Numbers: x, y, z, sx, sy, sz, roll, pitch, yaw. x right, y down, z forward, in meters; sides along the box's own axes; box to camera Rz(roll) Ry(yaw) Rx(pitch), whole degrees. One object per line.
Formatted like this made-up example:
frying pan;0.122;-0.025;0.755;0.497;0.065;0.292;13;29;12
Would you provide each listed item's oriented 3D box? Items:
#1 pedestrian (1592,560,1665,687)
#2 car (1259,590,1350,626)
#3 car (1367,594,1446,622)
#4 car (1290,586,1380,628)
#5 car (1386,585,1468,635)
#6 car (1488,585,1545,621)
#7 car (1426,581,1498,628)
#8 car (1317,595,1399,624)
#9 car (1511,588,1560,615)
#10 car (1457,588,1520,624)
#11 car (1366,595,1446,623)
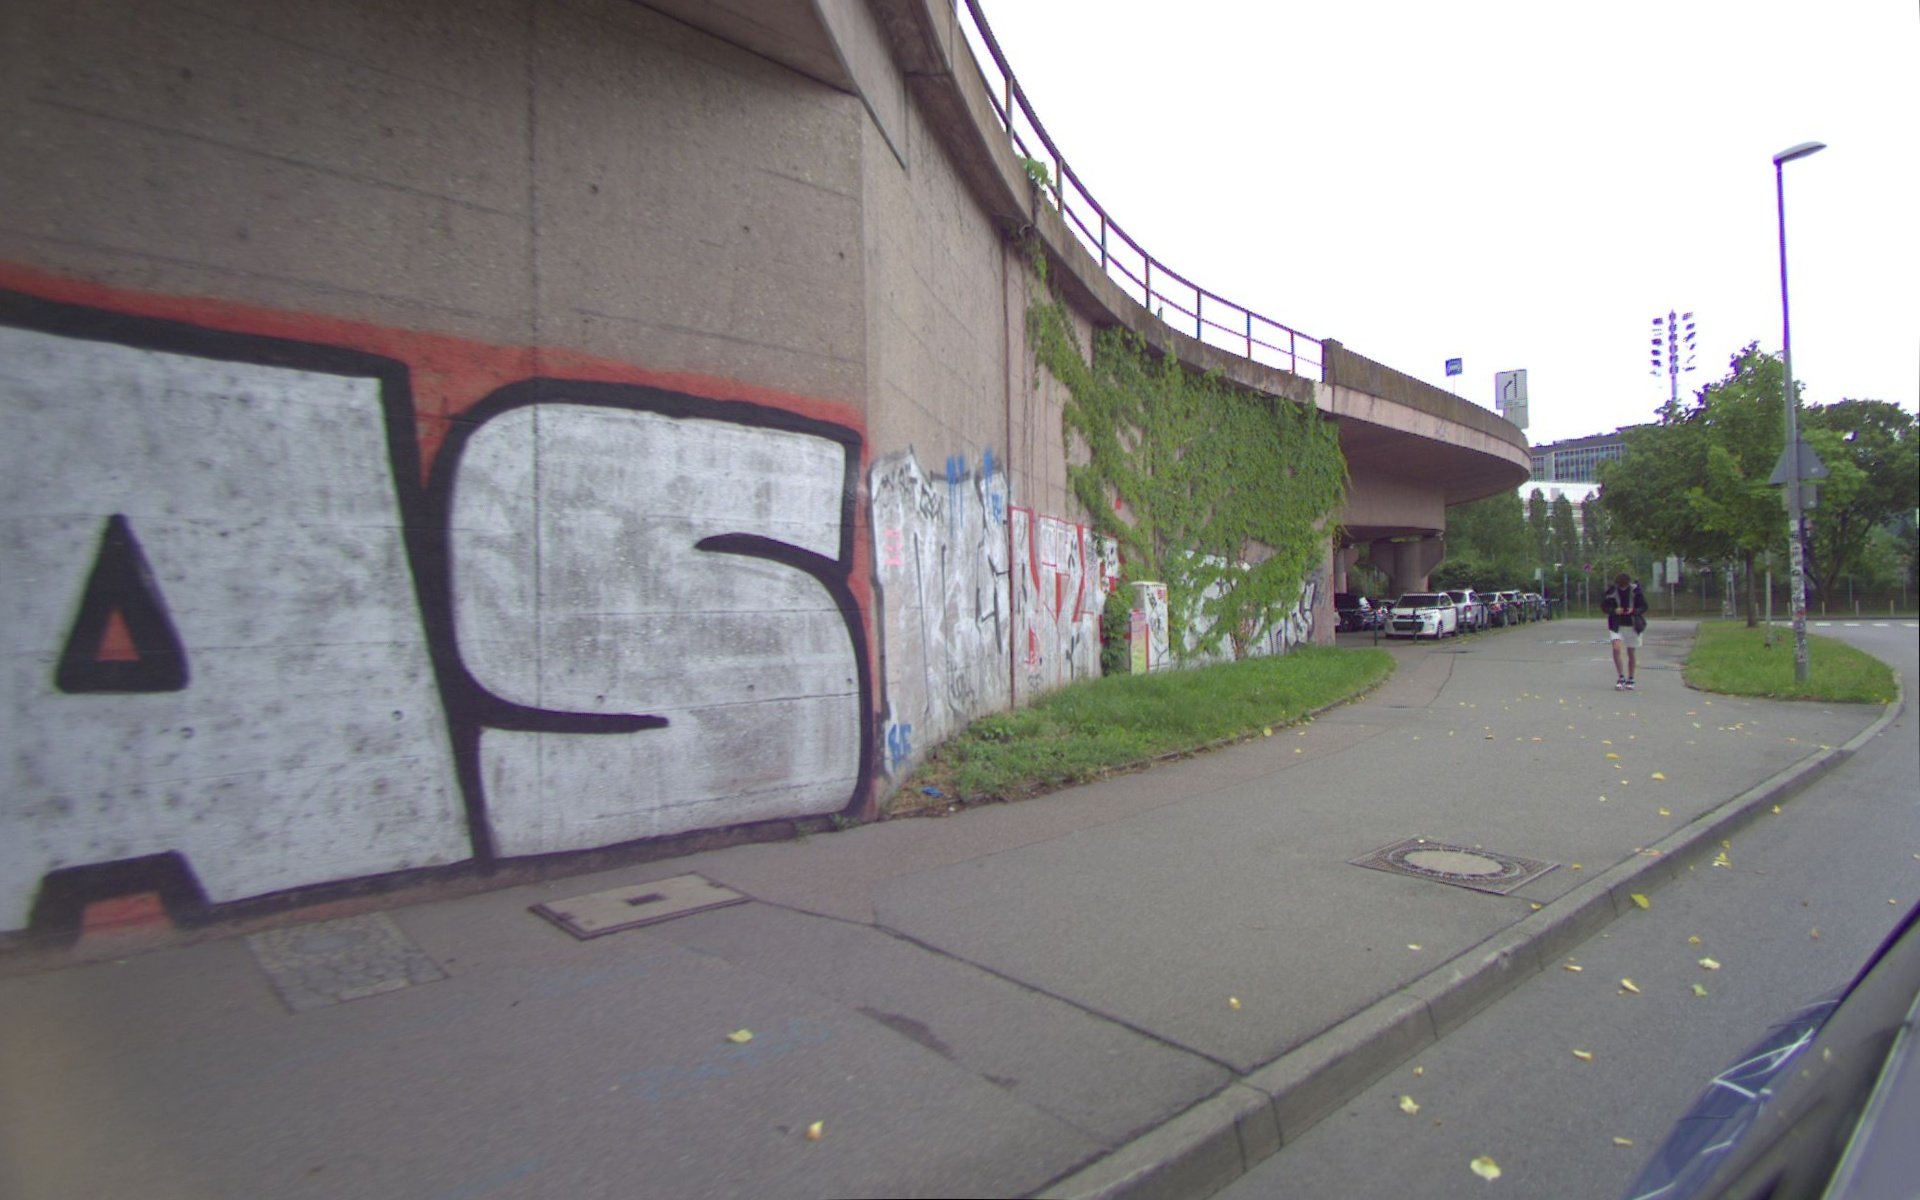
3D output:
pedestrian;10.481;0.339;15.852;0.818;1.903;1.164;1;1;39
car;14.336;0.338;42.192;3.308;1.427;1.330;-2;-1;44
car;23.156;0.420;52.539;3.460;1.401;1.403;-1;0;42
car;16.071;0.305;43.407;3.308;1.709;1.413;-2;-2;44
car;14.886;0.288;32.177;1.602;1.463;3.428;-1;0;38
car;24.706;0.120;44.863;1.617;1.392;4.122;-7;-4;36
car;18.124;0.161;36.437;1.606;1.550;3.866;-3;-2;37
car;18.527;0.444;47.200;3.308;1.311;1.330;-1;-1;44
car;28.031;0.091;49.264;1.618;1.254;4.006;-1;-1;36
car;21.323;0.225;40.767;1.618;1.333;3.726;-4;-2;37
car;22.064;0.446;50.101;3.302;1.321;1.465;-1;1;43
